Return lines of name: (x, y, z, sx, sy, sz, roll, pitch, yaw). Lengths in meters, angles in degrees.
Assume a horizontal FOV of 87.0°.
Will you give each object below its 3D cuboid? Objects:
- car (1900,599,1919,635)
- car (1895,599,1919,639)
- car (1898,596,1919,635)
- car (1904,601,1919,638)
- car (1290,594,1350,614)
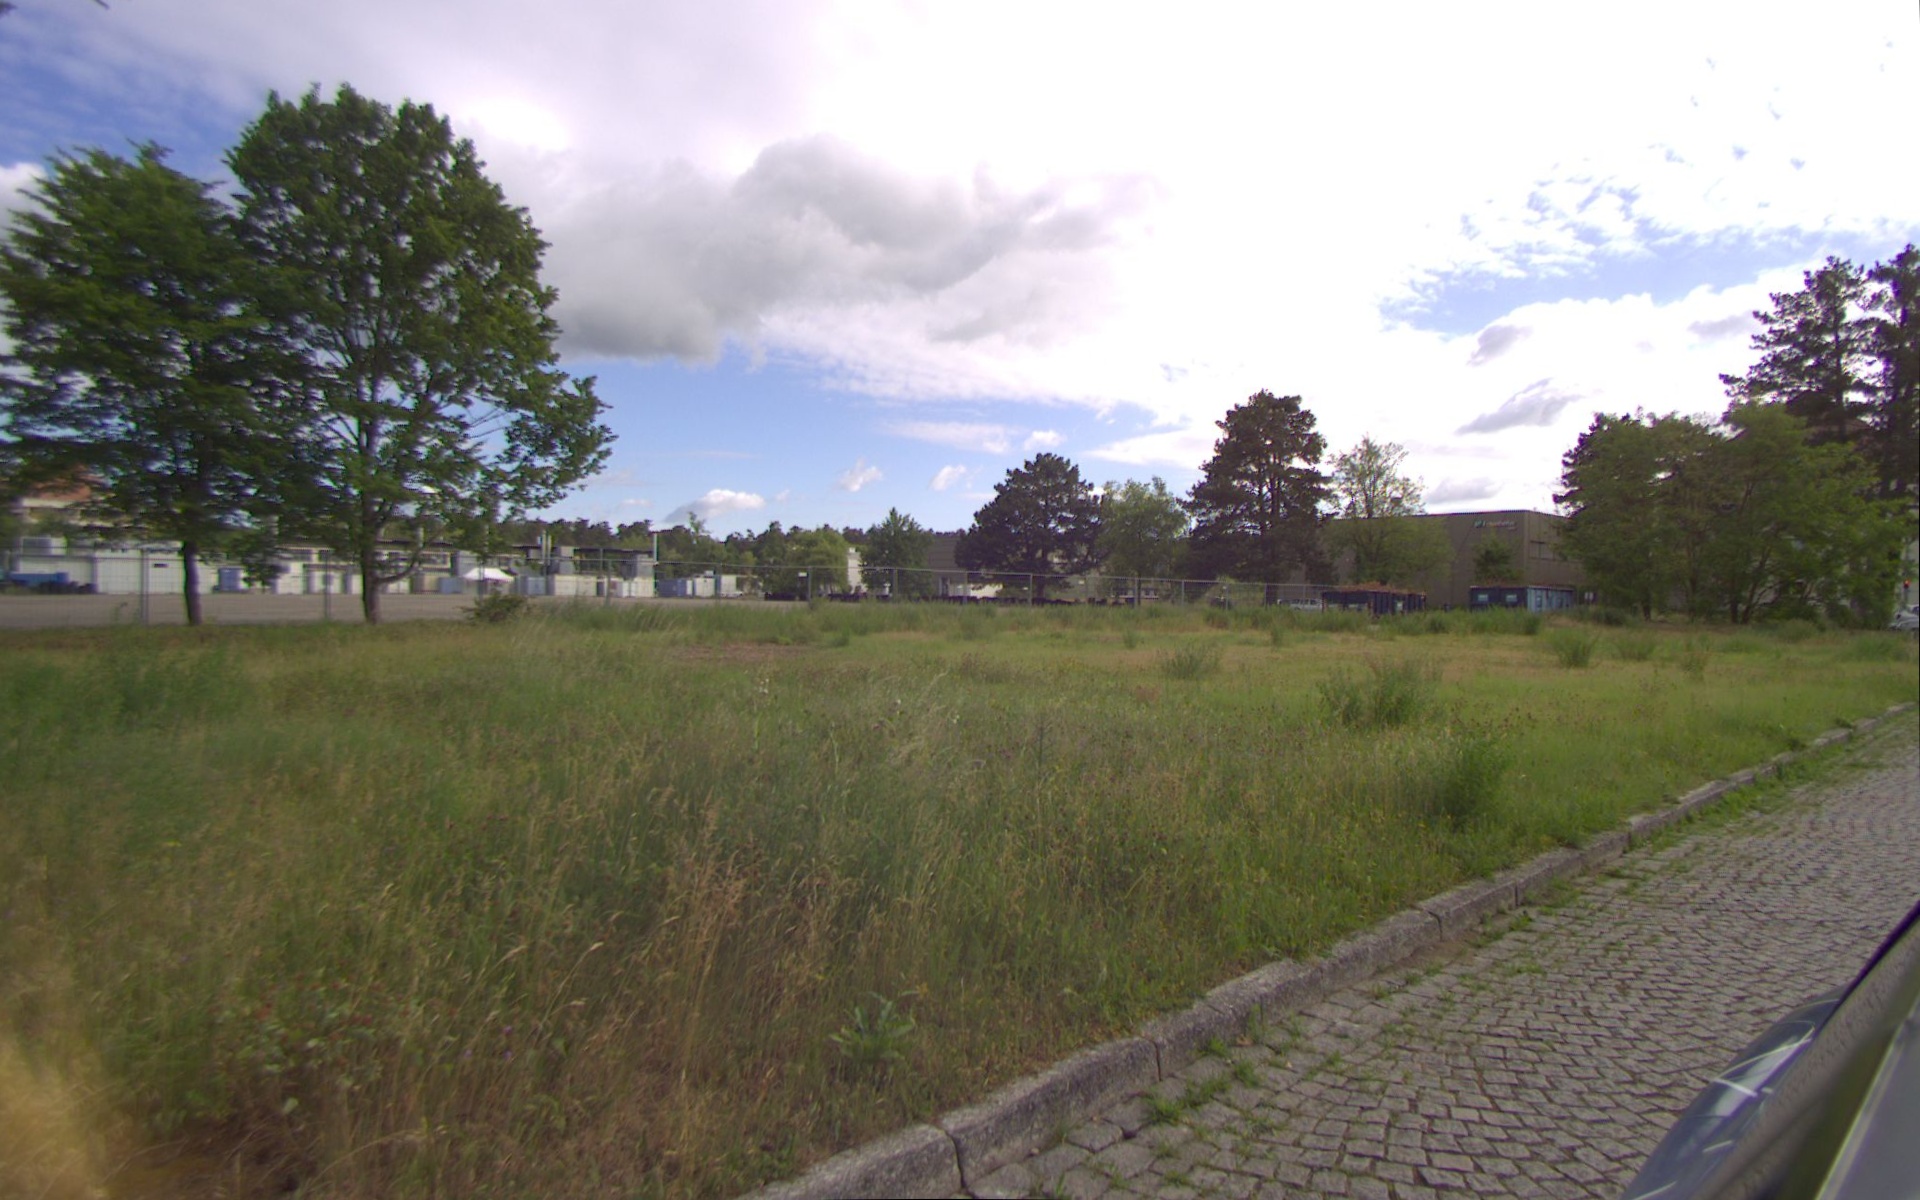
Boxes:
car: (45.025, 0.895, 45.028, 1.873, 1.584, 4.501, 1, 3, -42)
car: (39.410, 0.886, 39.522, 1.773, 1.533, 4.081, 1, 3, -42)
car: (43.172, 0.807, 43.337, 1.854, 1.615, 4.246, 1, 3, -43)
car: (41.425, 0.942, 41.259, 1.853, 1.470, 4.081, 1, 3, -42)
car: (28.471, 0.310, 80.132, 1.939, 1.501, 3.992, 1, 0, -43)
